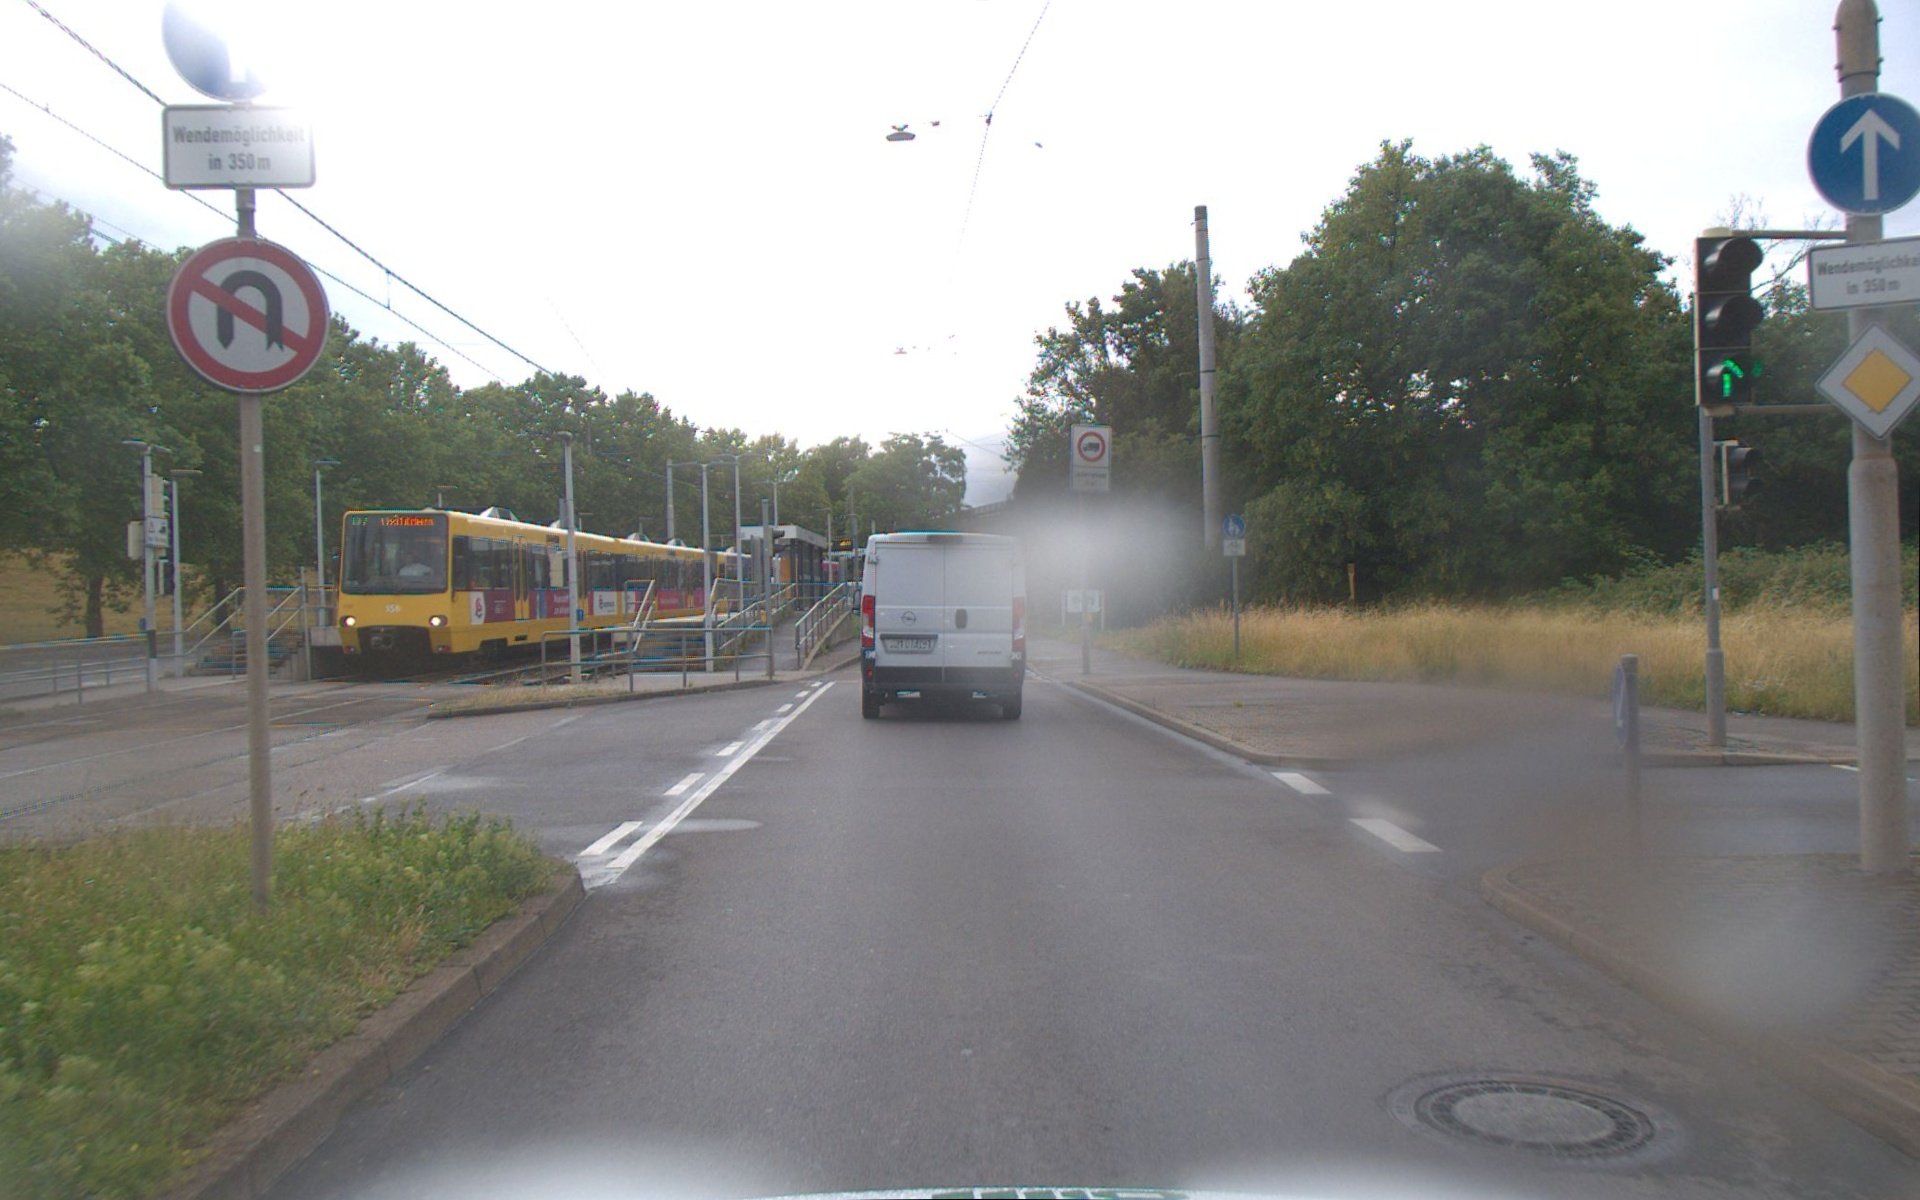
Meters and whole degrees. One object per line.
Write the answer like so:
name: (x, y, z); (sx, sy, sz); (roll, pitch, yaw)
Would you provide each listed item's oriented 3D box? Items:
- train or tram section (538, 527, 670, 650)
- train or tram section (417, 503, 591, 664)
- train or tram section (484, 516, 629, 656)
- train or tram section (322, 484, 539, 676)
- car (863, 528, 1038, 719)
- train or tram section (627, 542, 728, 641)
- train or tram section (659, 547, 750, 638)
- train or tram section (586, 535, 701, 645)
train or tram section: (-12.315, -0.377, 57.919); (2.868, 4.002, 7.007); (1, 0, 2)
train or tram section: (-12.228, -0.404, 45.043); (2.869, 4.002, 7.003); (1, 0, -1)
train or tram section: (-12.358, -0.393, 51.286); (2.869, 4.002, 7.003); (1, 0, -1)
train or tram section: (-12.098, -0.416, 38.530); (2.869, 4.002, 7.003); (1, 0, -1)
car: (-0.237, 0.260, 21.968); (2.049, 2.235, 5.058); (0, 0, -3)
train or tram section: (-11.971, -0.344, 70.737); (2.868, 4.002, 7.007); (1, 0, 2)
train or tram section: (-11.791, -0.327, 76.975); (2.868, 4.002, 7.007); (1, 0, 2)
train or tram section: (-12.146, -0.361, 64.151); (2.868, 4.002, 7.007); (1, 0, 2)
